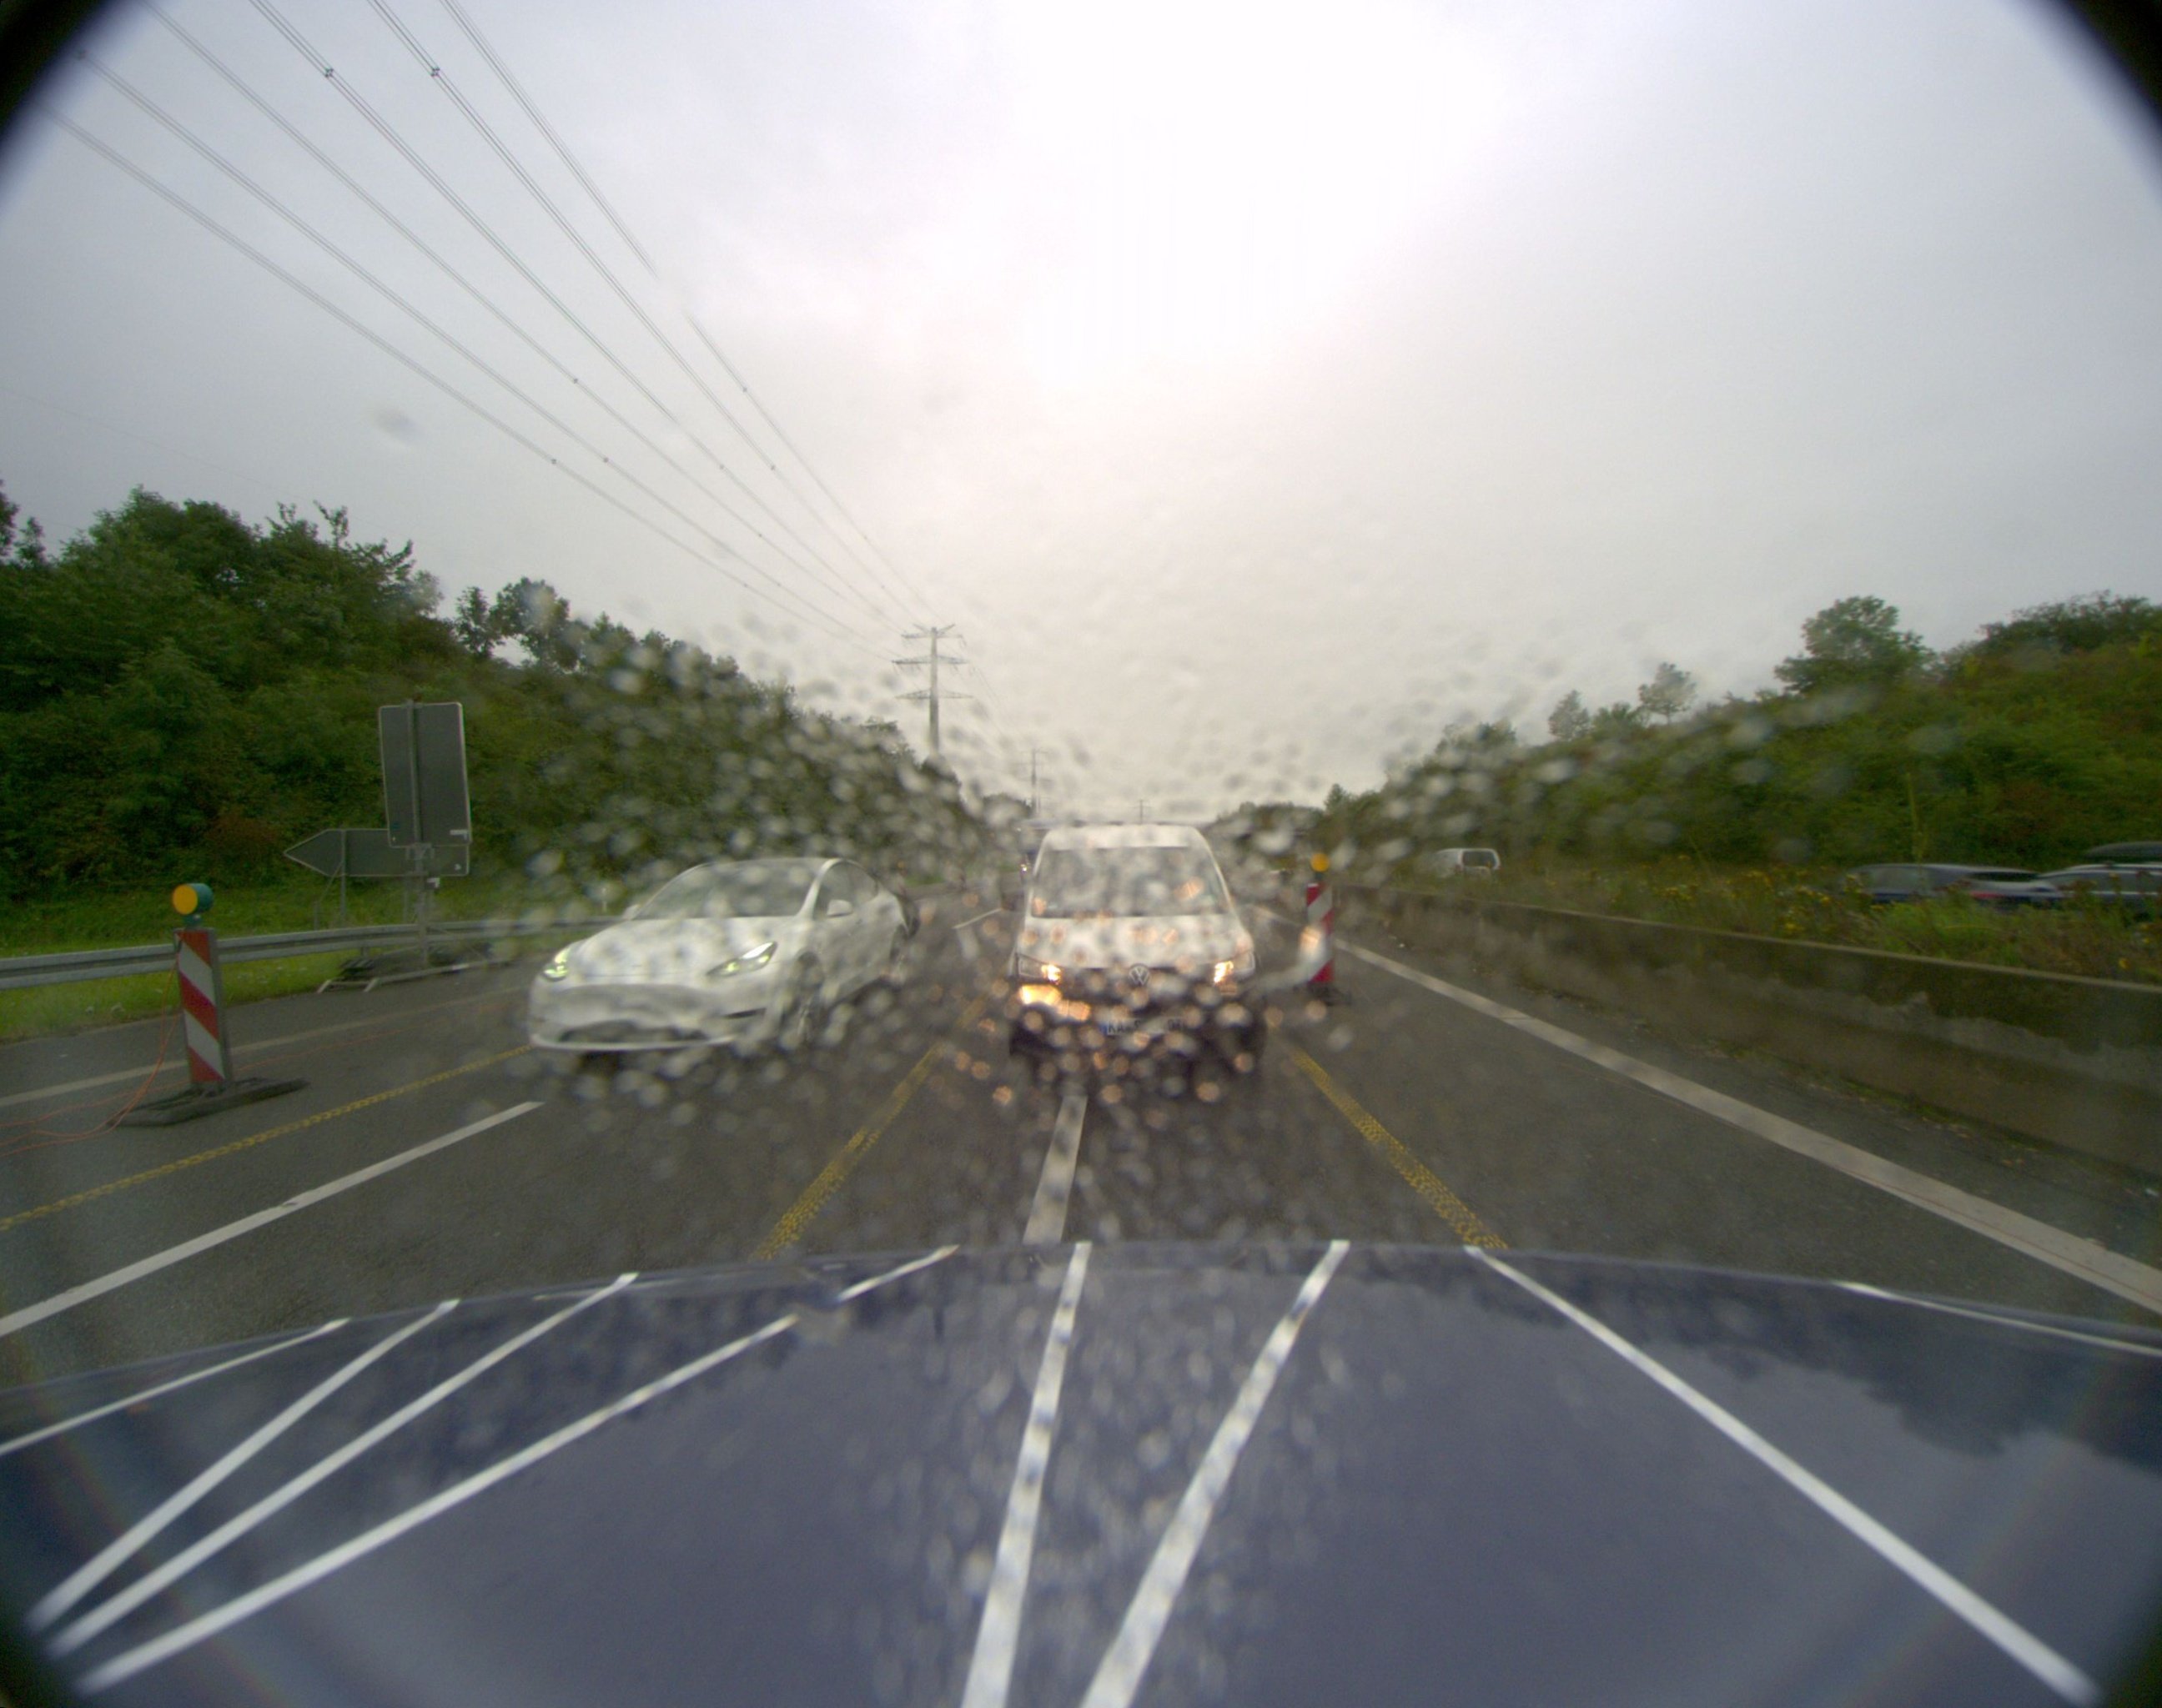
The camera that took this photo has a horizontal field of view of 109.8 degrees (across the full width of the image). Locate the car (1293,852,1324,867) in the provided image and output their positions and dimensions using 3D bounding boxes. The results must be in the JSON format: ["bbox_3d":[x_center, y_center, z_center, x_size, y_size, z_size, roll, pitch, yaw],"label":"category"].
[{"bbox_3d":[22.731,0.546,76.039,1.998,1.471,4.109,0,0,2],"label":"car"}]

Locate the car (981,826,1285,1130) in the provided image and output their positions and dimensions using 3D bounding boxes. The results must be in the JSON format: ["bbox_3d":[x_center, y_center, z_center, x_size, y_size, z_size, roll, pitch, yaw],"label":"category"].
[{"bbox_3d":[0.349,0.746,6.910,1.770,1.774,4.647,-2,0,1],"label":"car"}]

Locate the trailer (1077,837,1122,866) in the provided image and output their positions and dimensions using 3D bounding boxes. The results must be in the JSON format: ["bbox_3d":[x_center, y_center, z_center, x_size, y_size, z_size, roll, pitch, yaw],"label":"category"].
[{"bbox_3d":[2.902,-0.495,112.788,2.805,3.980,14.164,-2,1,17],"label":"trailer"}]

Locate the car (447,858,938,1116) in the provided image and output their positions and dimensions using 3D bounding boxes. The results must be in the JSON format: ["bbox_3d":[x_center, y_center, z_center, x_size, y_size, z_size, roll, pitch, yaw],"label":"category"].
[{"bbox_3d":[-3.159,0.915,8.011,2.051,1.587,5.801,-2,0,1],"label":"car"}]

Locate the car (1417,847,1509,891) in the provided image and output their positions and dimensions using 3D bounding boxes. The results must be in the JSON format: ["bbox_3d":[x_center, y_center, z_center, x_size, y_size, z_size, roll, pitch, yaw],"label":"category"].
[{"bbox_3d":[15.136,0.544,30.331,1.872,1.640,4.001,0,0,4],"label":"car"}]

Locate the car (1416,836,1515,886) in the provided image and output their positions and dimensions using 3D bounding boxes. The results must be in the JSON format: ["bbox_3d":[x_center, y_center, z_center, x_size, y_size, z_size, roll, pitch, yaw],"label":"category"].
[{"bbox_3d":[15.171,0.223,30.267,1.998,1.791,4.000,-2,1,2],"label":"car"}]

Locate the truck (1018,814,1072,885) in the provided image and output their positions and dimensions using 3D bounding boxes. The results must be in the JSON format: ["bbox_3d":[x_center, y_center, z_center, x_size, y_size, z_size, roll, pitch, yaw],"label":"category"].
[{"bbox_3d":[-2.050,-0.290,45.082,2.553,3.924,4.001,-2,1,5],"label":"truck"}]

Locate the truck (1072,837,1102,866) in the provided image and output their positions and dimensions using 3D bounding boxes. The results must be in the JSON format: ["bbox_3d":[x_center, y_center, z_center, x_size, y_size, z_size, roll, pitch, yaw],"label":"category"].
[{"bbox_3d":[0.866,-0.412,107.252,2.745,3.912,5.403,-2,1,16],"label":"truck"}]

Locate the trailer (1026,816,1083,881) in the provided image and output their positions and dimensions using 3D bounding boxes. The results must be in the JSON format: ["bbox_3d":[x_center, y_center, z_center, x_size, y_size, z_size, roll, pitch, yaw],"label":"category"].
[{"bbox_3d":[-1.561,-0.428,51.767,2.525,3.812,12.352,-2,1,4],"label":"trailer"}]

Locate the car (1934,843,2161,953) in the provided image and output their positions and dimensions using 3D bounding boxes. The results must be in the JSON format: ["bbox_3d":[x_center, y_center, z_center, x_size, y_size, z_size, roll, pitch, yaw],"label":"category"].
[{"bbox_3d":[18.626,0.717,13.598,1.998,1.779,4.229,0,0,1],"label":"car"}]

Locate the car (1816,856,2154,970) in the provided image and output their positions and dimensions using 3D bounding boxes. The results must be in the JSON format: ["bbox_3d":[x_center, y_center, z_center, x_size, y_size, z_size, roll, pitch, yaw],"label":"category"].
[{"bbox_3d":[14.838,0.864,12.814,1.455,1.523,3.661,-2,1,3],"label":"car"}]
